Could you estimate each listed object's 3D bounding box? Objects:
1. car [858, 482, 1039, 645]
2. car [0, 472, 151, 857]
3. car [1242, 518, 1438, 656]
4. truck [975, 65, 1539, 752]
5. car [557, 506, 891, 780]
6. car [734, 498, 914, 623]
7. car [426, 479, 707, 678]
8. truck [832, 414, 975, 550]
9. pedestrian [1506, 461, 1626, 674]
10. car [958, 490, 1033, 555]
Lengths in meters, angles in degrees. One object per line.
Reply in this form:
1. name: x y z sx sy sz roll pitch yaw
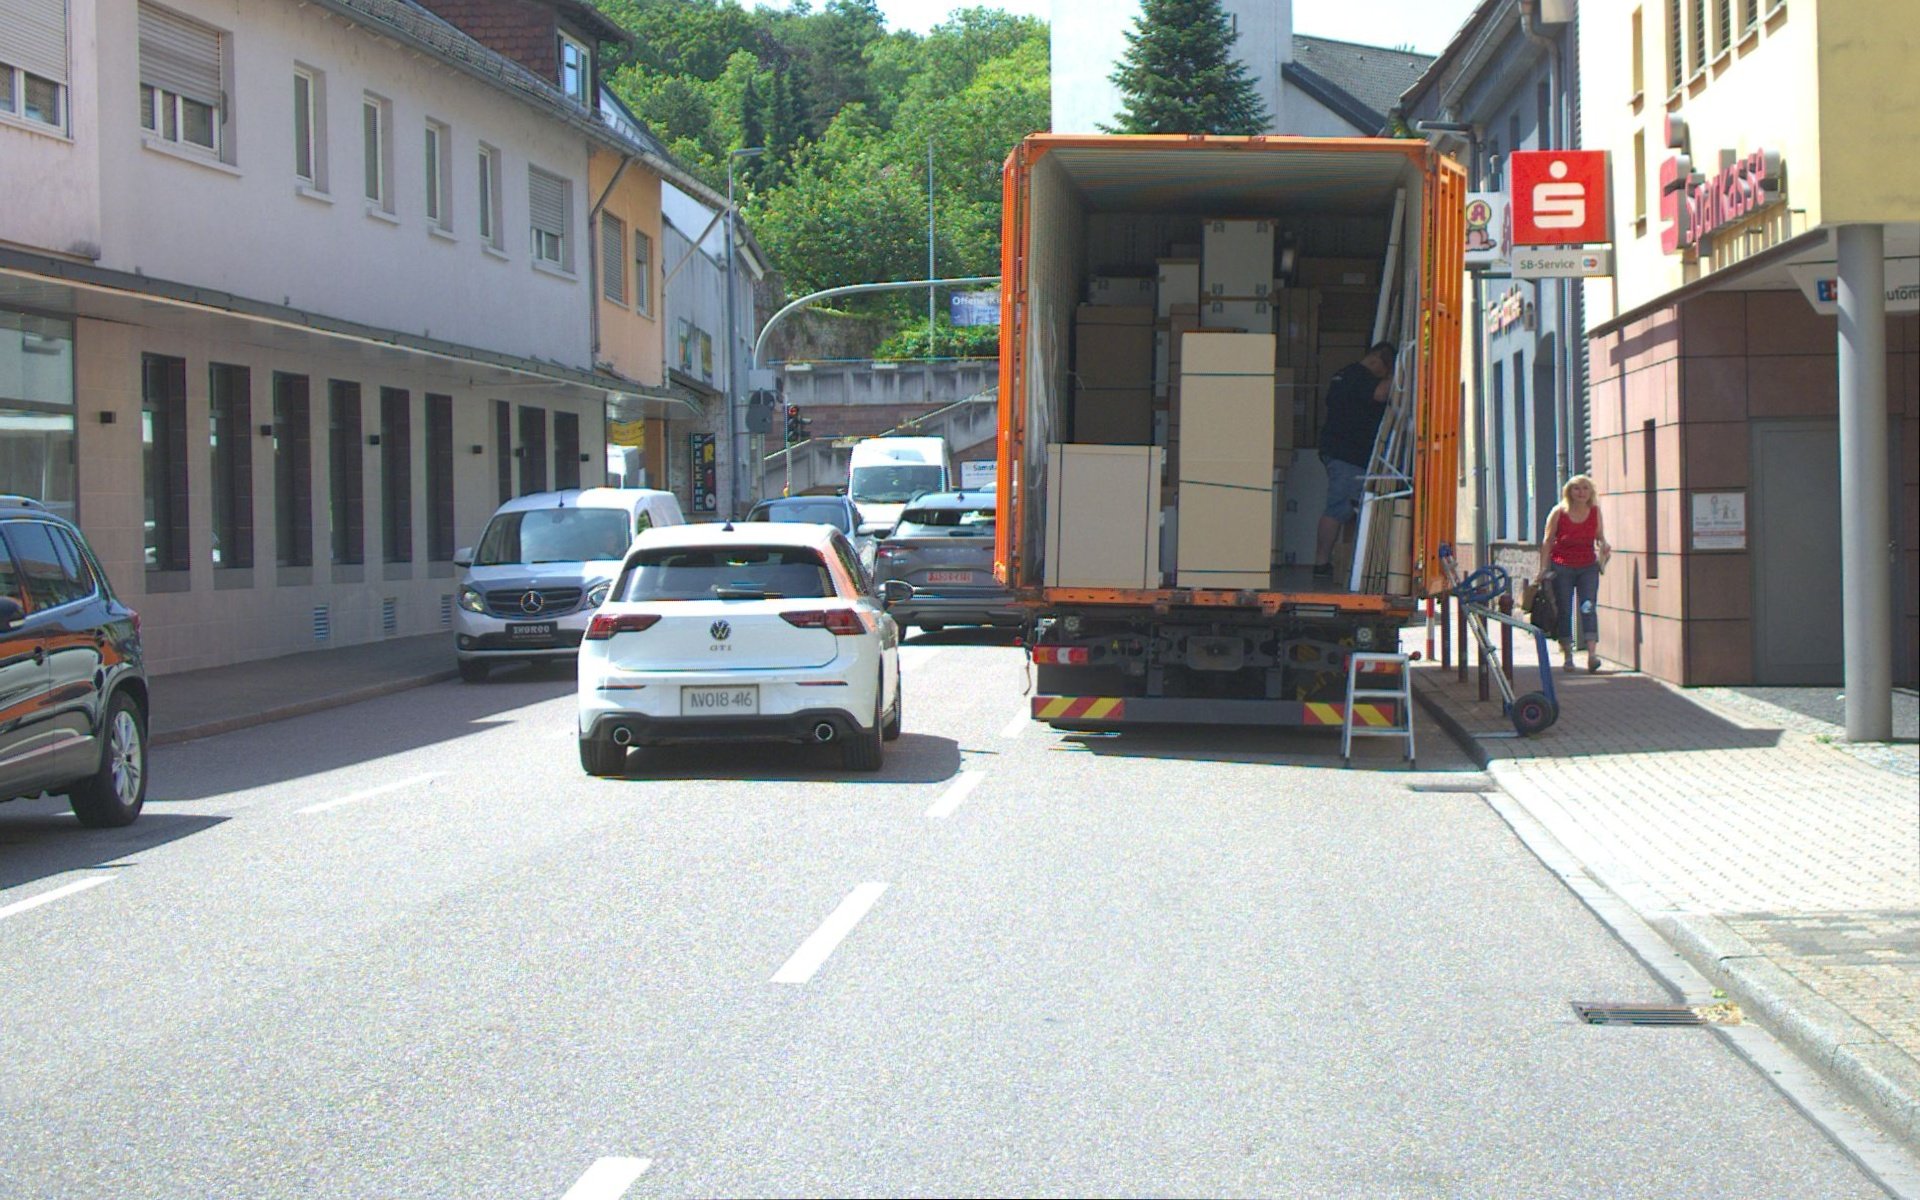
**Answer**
1. car: -0.140 -0.399 37.592 1.815 1.623 4.000 -2 1 -1
2. car: -5.098 0.299 15.612 1.691 1.693 4.112 -2 2 2
3. car: 4.508 -0.170 41.297 1.815 1.514 4.000 -2 1 -1
4. truck: 1.984 -1.234 26.157 3.367 4.155 9.519 -2 1 2
5. car: -1.351 0.222 21.079 1.815 1.514 4.000 0 0 -1
6. car: -1.895 -0.563 49.137 1.994 1.645 3.999 -2 1 5
7. car: -3.813 -0.270 34.144 1.802 1.773 4.704 -2 2 5
8. truck: -1.048 -2.265 67.632 2.118 2.466 5.735 -2 1 5
9. pedestrian: 5.088 -0.272 28.918 0.769 1.736 0.871 -2 0 -2
10. car: 0.887 -1.901 85.047 1.761 1.492 4.000 -2 1 1
